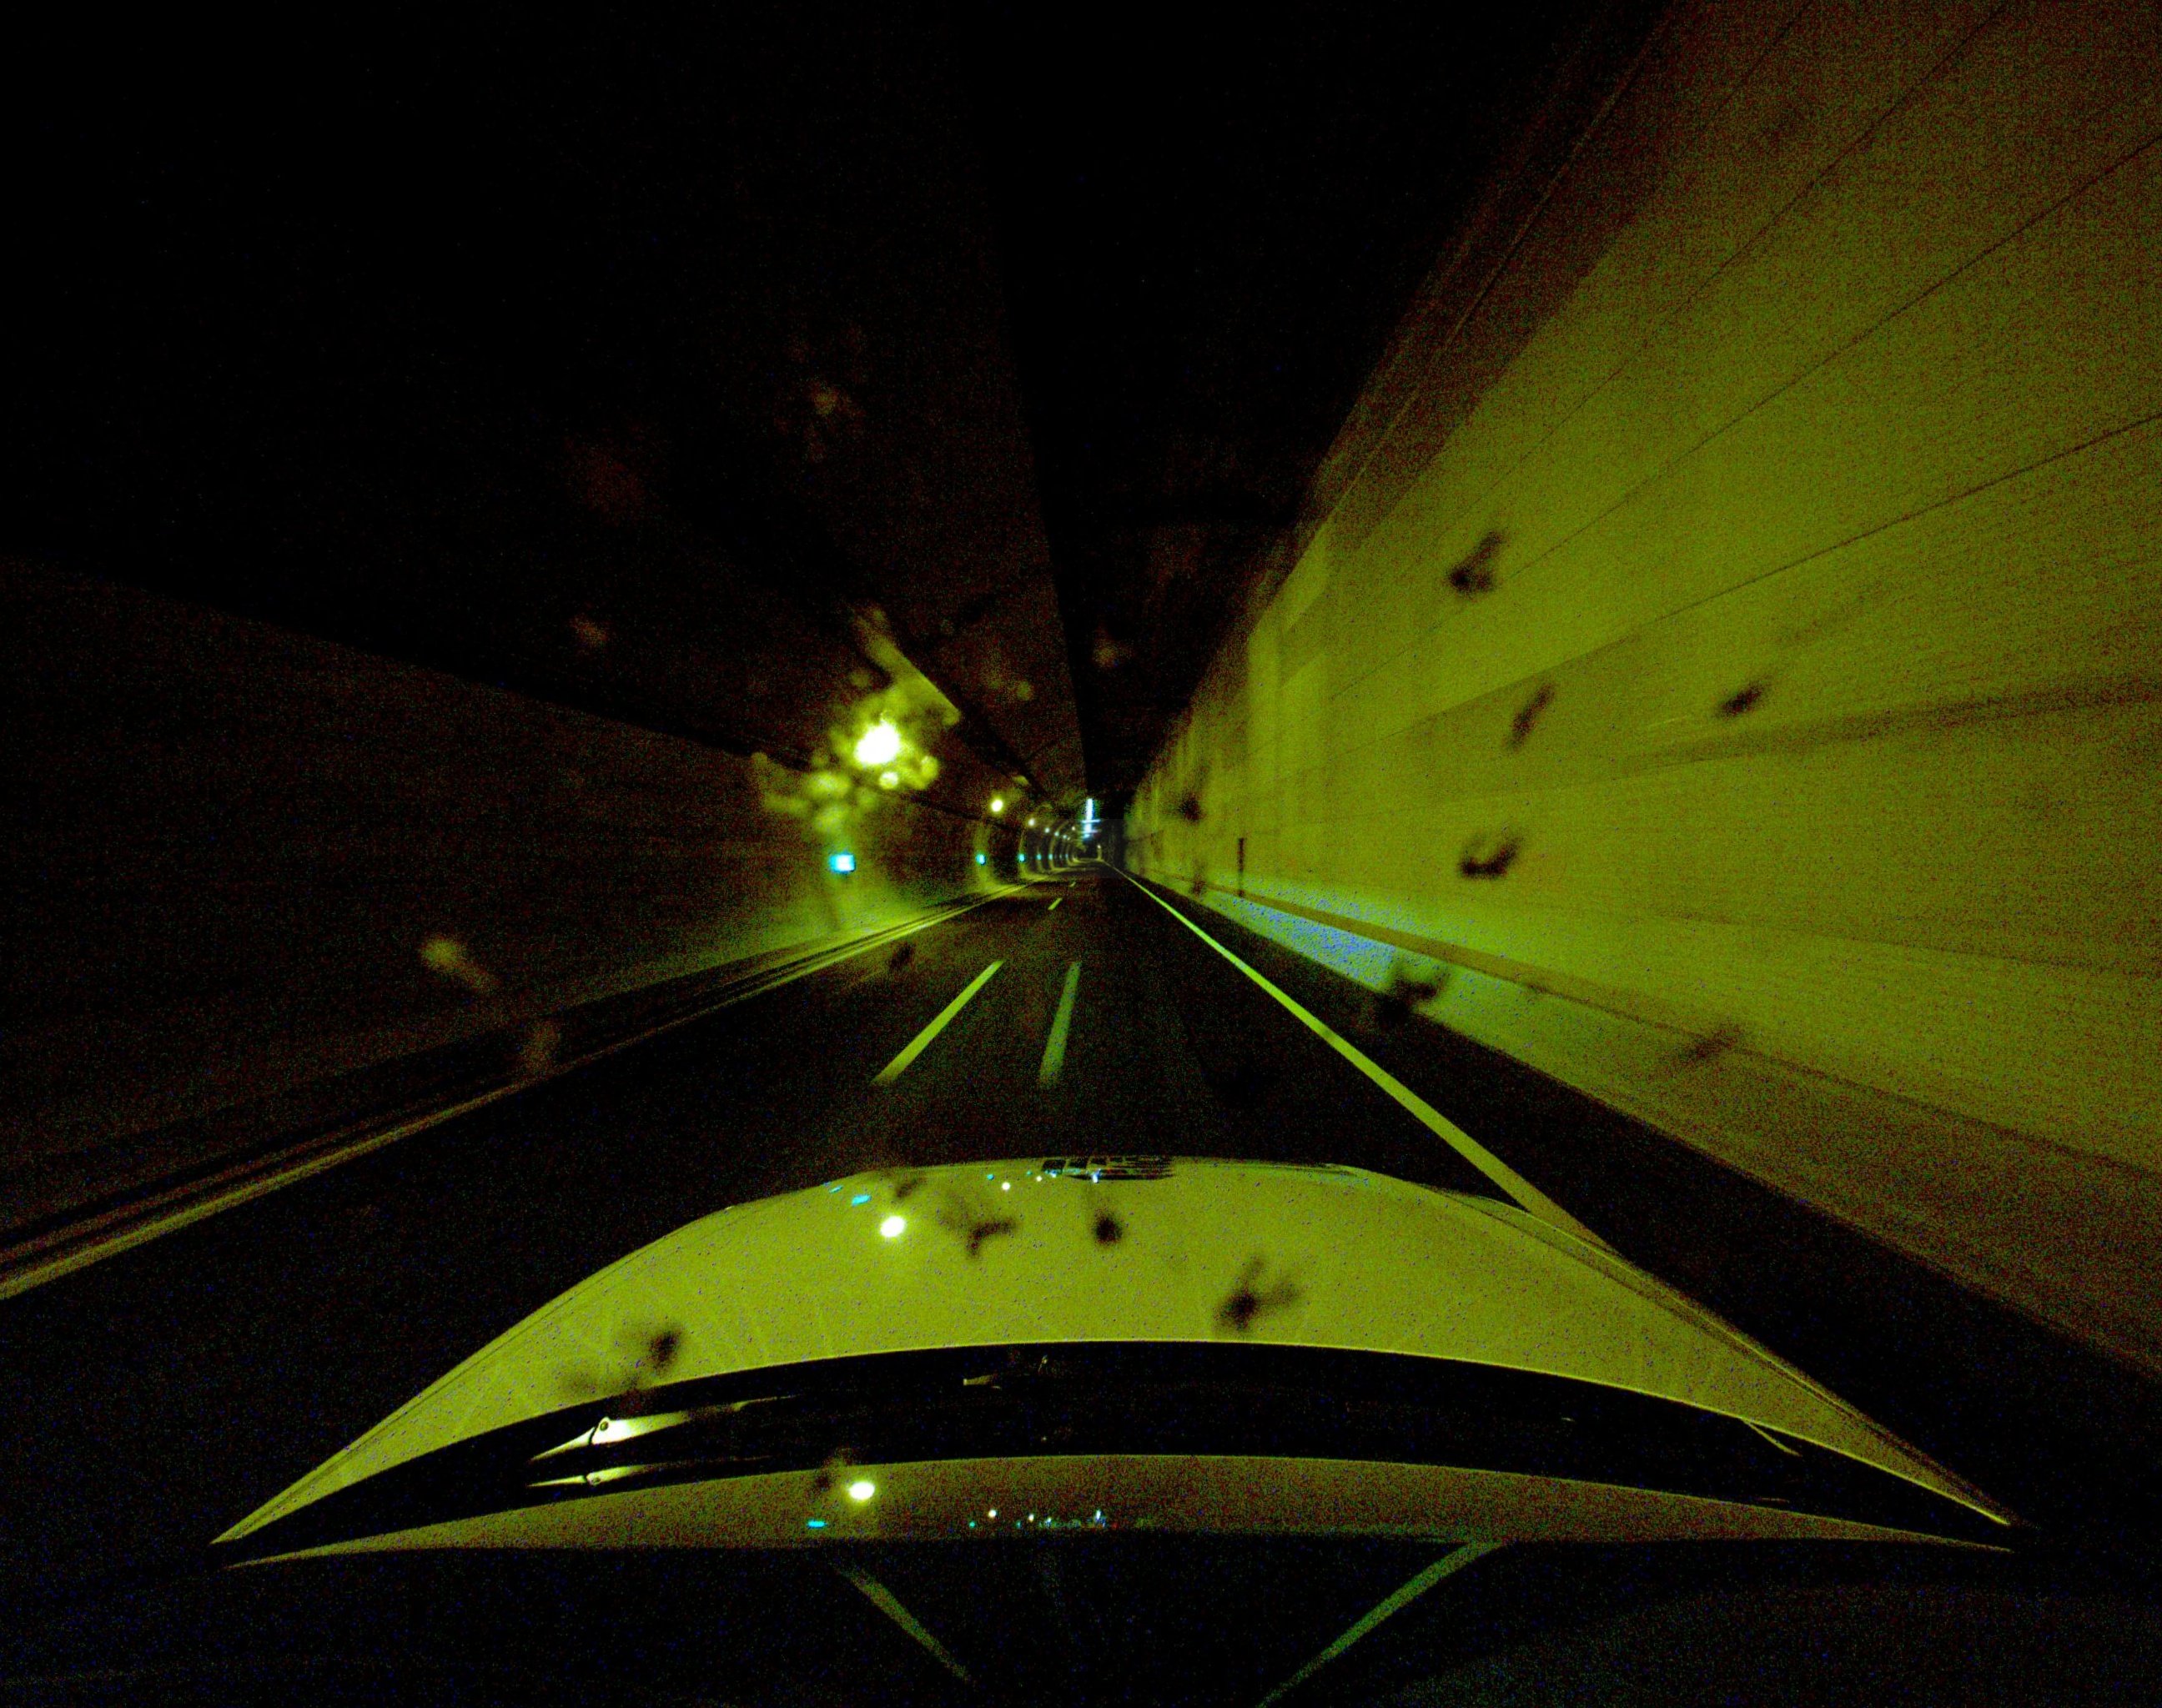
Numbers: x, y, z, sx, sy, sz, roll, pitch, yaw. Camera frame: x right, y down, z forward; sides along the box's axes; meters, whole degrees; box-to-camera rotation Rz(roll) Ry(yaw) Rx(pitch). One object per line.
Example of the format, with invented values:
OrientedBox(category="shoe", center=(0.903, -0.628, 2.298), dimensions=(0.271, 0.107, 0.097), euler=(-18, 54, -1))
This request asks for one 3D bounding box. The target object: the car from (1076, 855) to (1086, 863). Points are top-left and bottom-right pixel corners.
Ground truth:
OrientedBox(category="car", center=(0.001, 1.036, 167.719), dimensions=(1.924, 1.687, 4.000), euler=(-1, 0, 0))

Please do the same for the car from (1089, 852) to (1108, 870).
OrientedBox(category="car", center=(1.839, 0.723, 85.667), dimensions=(1.940, 1.794, 4.001), euler=(-1, 0, 1))

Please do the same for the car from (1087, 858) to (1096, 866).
OrientedBox(category="car", center=(2.450, 1.907, 194.271), dimensions=(1.922, 1.687, 4.003), euler=(-1, 0, 3))
